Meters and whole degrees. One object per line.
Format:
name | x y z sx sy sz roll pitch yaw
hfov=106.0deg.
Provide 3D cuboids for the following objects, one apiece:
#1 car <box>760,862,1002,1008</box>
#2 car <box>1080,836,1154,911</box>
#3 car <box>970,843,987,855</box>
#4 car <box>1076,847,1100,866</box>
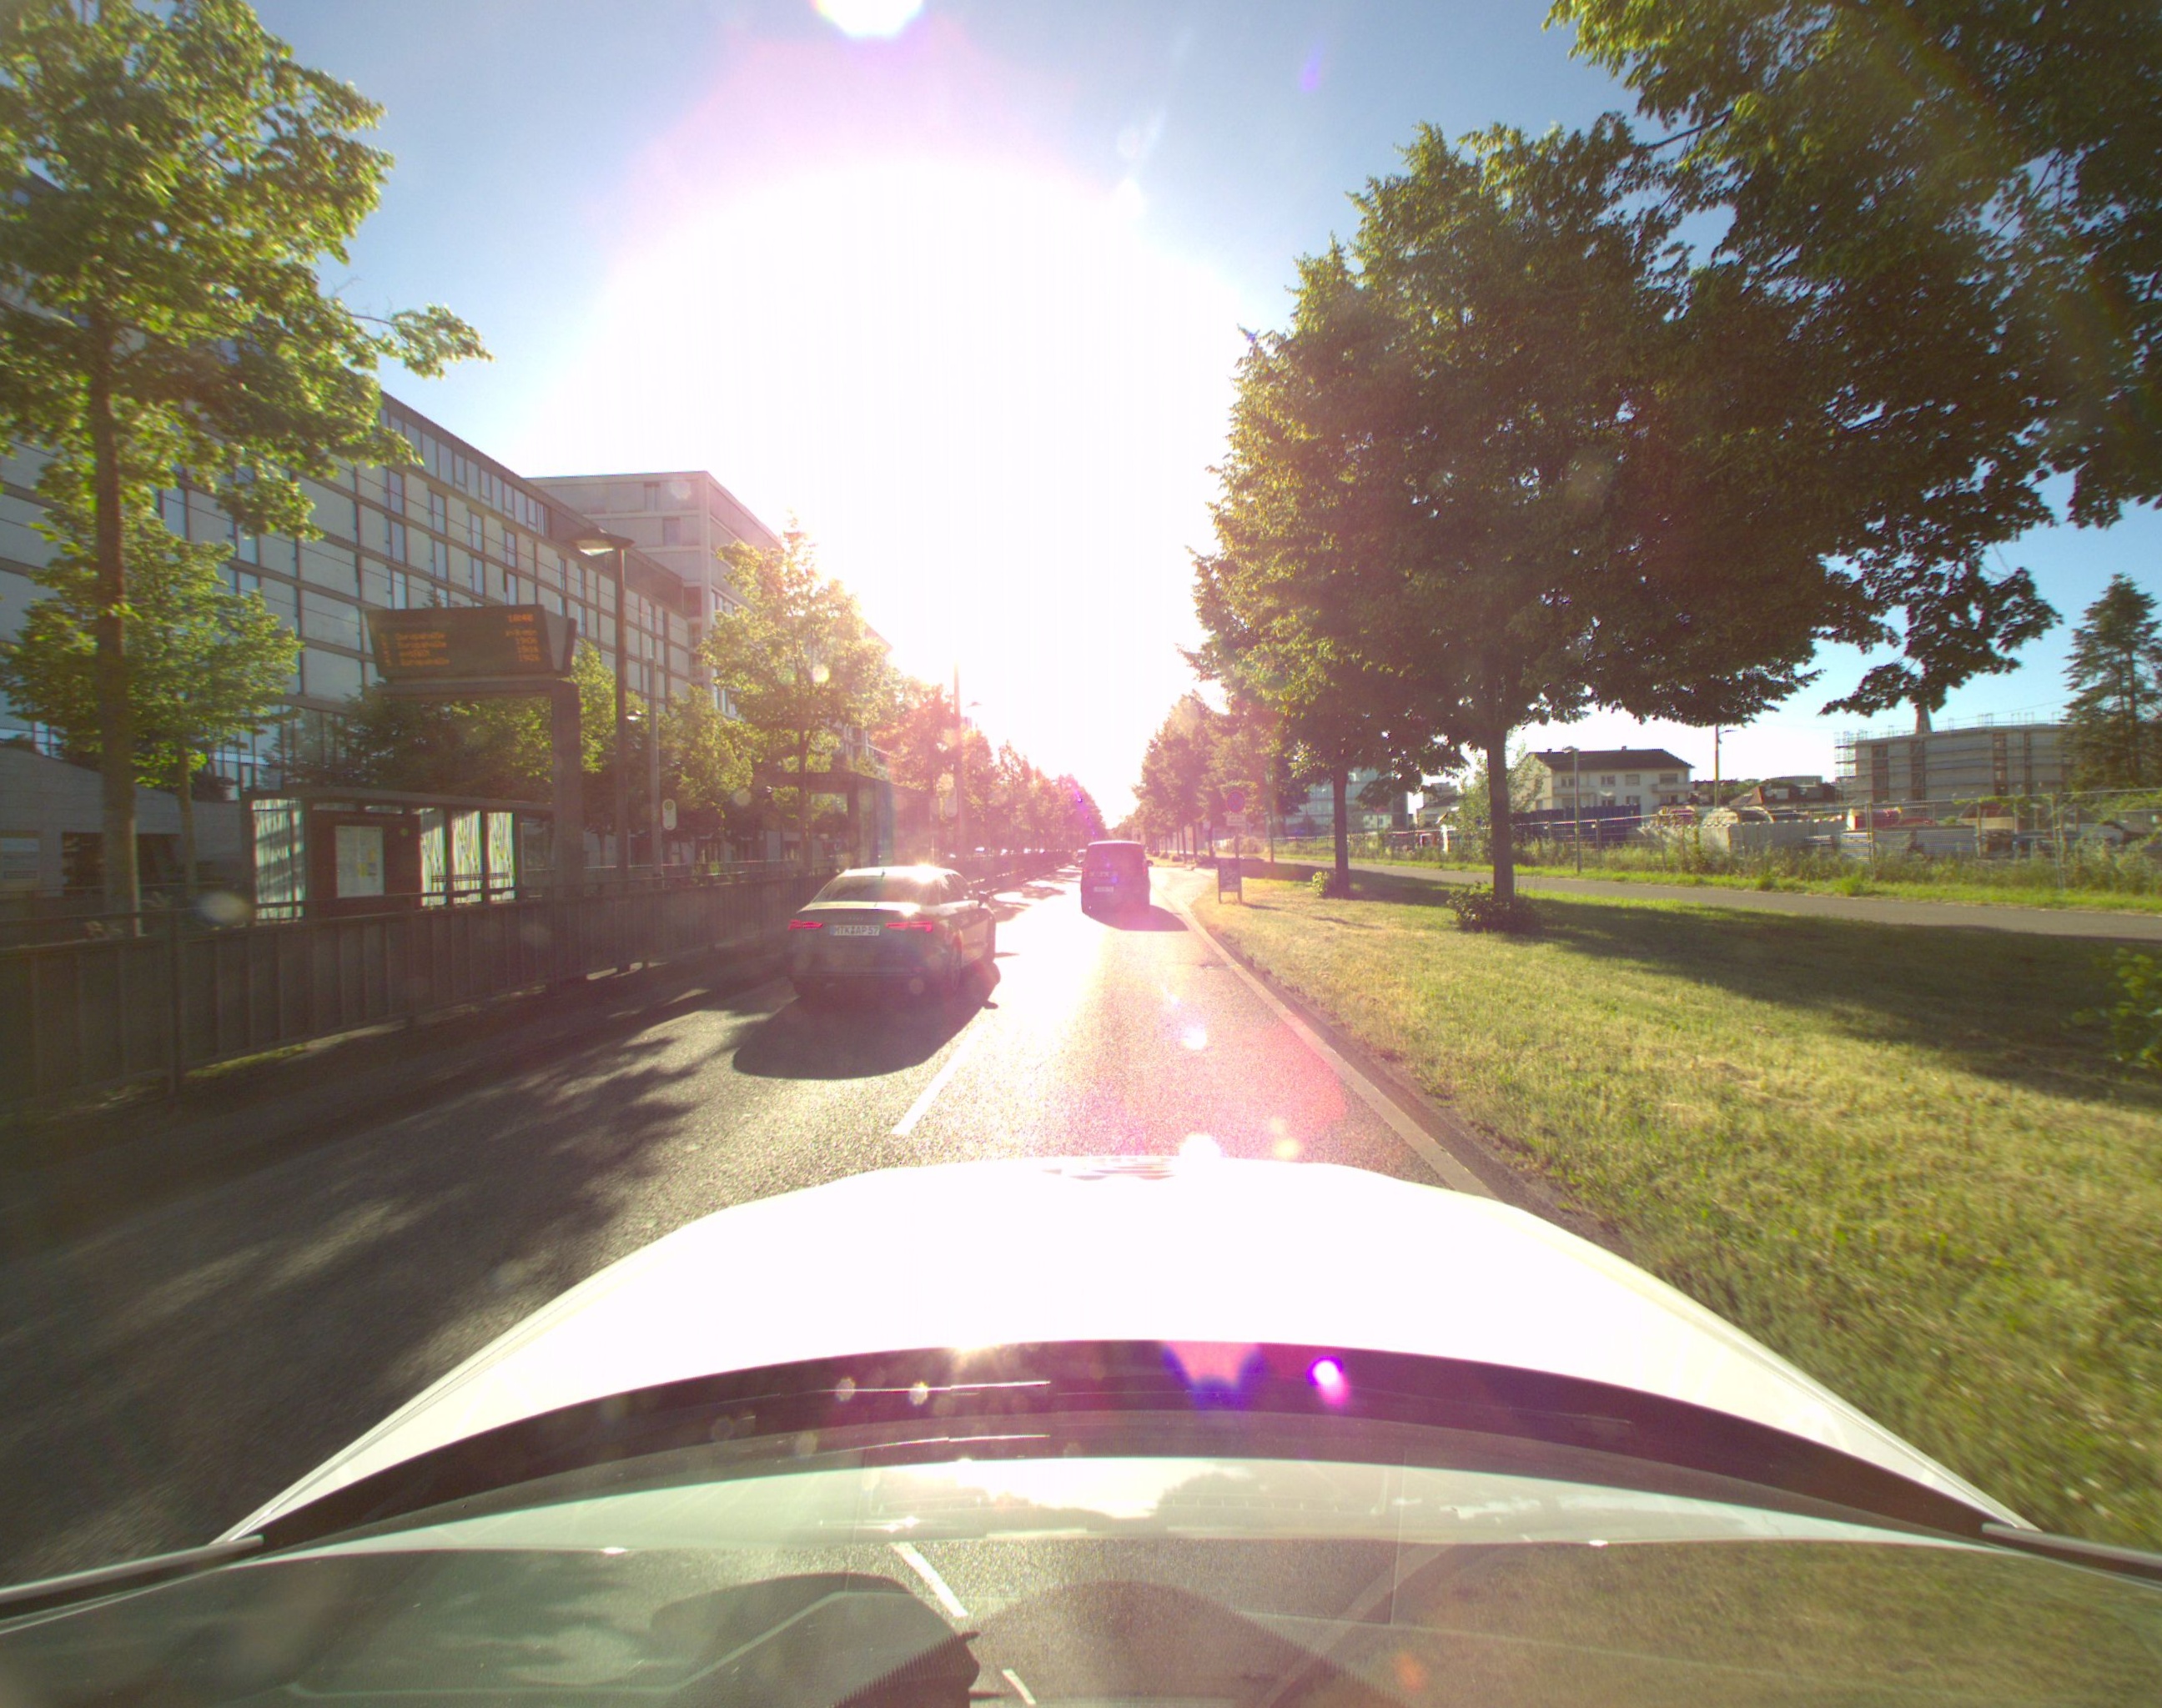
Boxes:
car | -2.147 0.807 9.981 1.714 1.366 4.149 -1 0 3
car | 0.898 0.430 21.896 1.791 1.776 4.001 1 2 0
car | -16.467 -0.739 130.563 1.986 1.750 4.229 -3 -1 2
car | 0.566 0.203 68.620 1.936 1.441 4.000 -2 0 0
